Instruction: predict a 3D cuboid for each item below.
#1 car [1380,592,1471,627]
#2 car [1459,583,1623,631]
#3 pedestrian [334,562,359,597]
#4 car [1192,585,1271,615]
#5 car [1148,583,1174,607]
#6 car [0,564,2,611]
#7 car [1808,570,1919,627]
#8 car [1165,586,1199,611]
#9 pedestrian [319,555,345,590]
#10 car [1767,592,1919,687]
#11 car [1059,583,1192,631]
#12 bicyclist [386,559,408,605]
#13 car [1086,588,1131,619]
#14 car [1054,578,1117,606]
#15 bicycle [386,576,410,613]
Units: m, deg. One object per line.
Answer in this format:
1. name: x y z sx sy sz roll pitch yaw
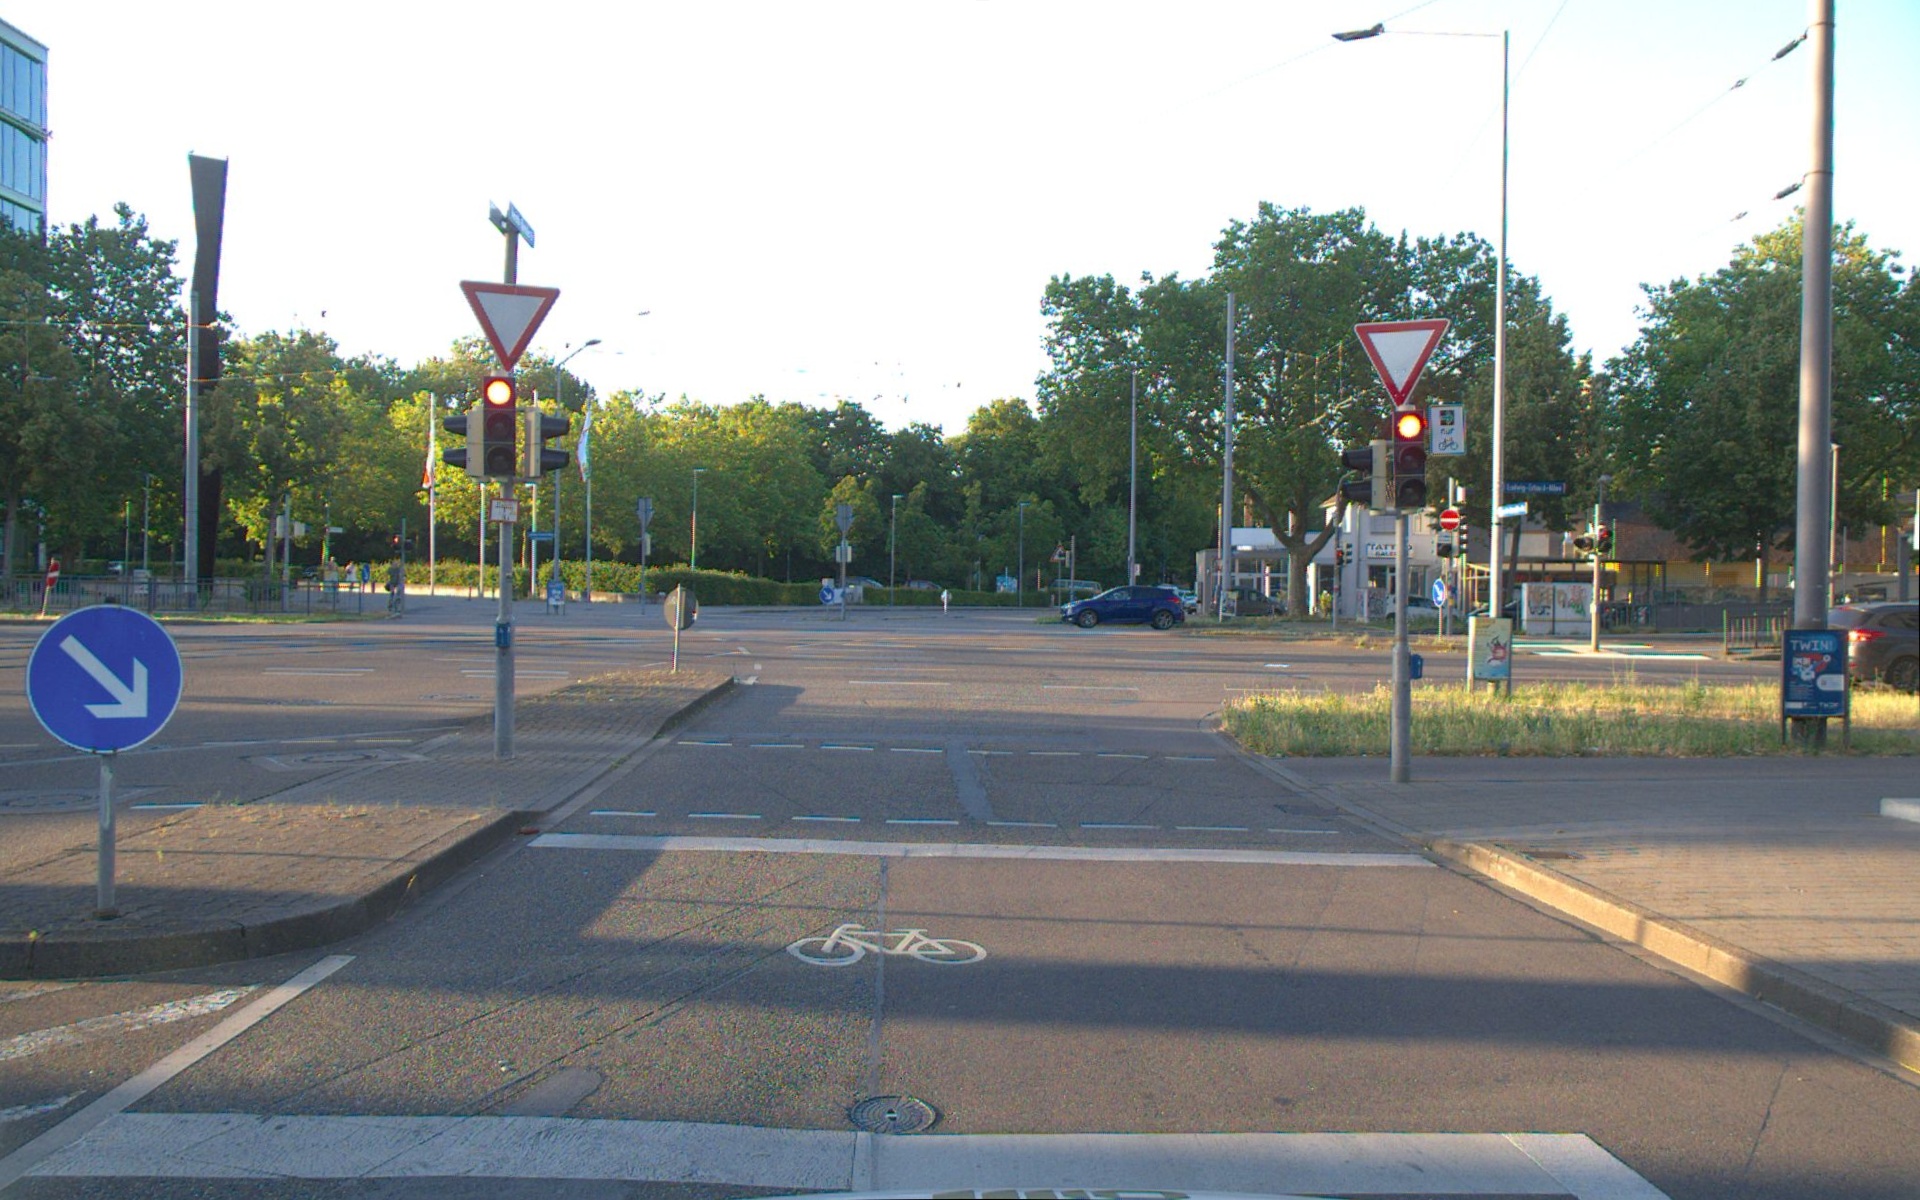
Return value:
1. car: 20.379 0.404 72.472 3.659 1.465 1.665 1 -1 9
2. car: 20.125 0.238 57.393 4.997 1.579 1.999 1 -1 -2
3. pedestrian: -30.979 -1.033 83.516 0.843 1.774 0.829 1 0 28
4. car: 14.661 0.023 89.385 4.129 1.579 2.001 1 -1 7
5. car: 16.007 -0.365 131.433 1.823 1.825 4.003 1 -1 10
6. car: -33.075 -0.437 52.524 4.241 1.522 1.804 1 -1 1
7. car: 43.670 -0.060 78.689 5.476 2.596 2.231 1 0 7
8. car: 15.563 -0.066 115.831 1.951 1.691 4.003 0 -1 14
9. pedestrian: -31.325 -1.372 82.512 0.845 1.774 0.828 1 0 33
10. car: 16.692 0.664 28.182 4.904 1.537 1.988 1 0 1
11. car: 5.674 0.231 56.981 4.380 1.579 2.000 1 -1 0
12. bicyclist: -21.583 -0.704 63.375 0.740 1.739 0.914 1 0 -22
13. car: 8.629 0.218 95.809 1.951 1.691 4.003 0 -1 14
14. car: 9.517 -0.592 126.023 4.675 2.041 2.000 1 -1 1
15. bicycle: -21.471 -0.208 63.119 0.720 1.364 2.673 1 1 -22
